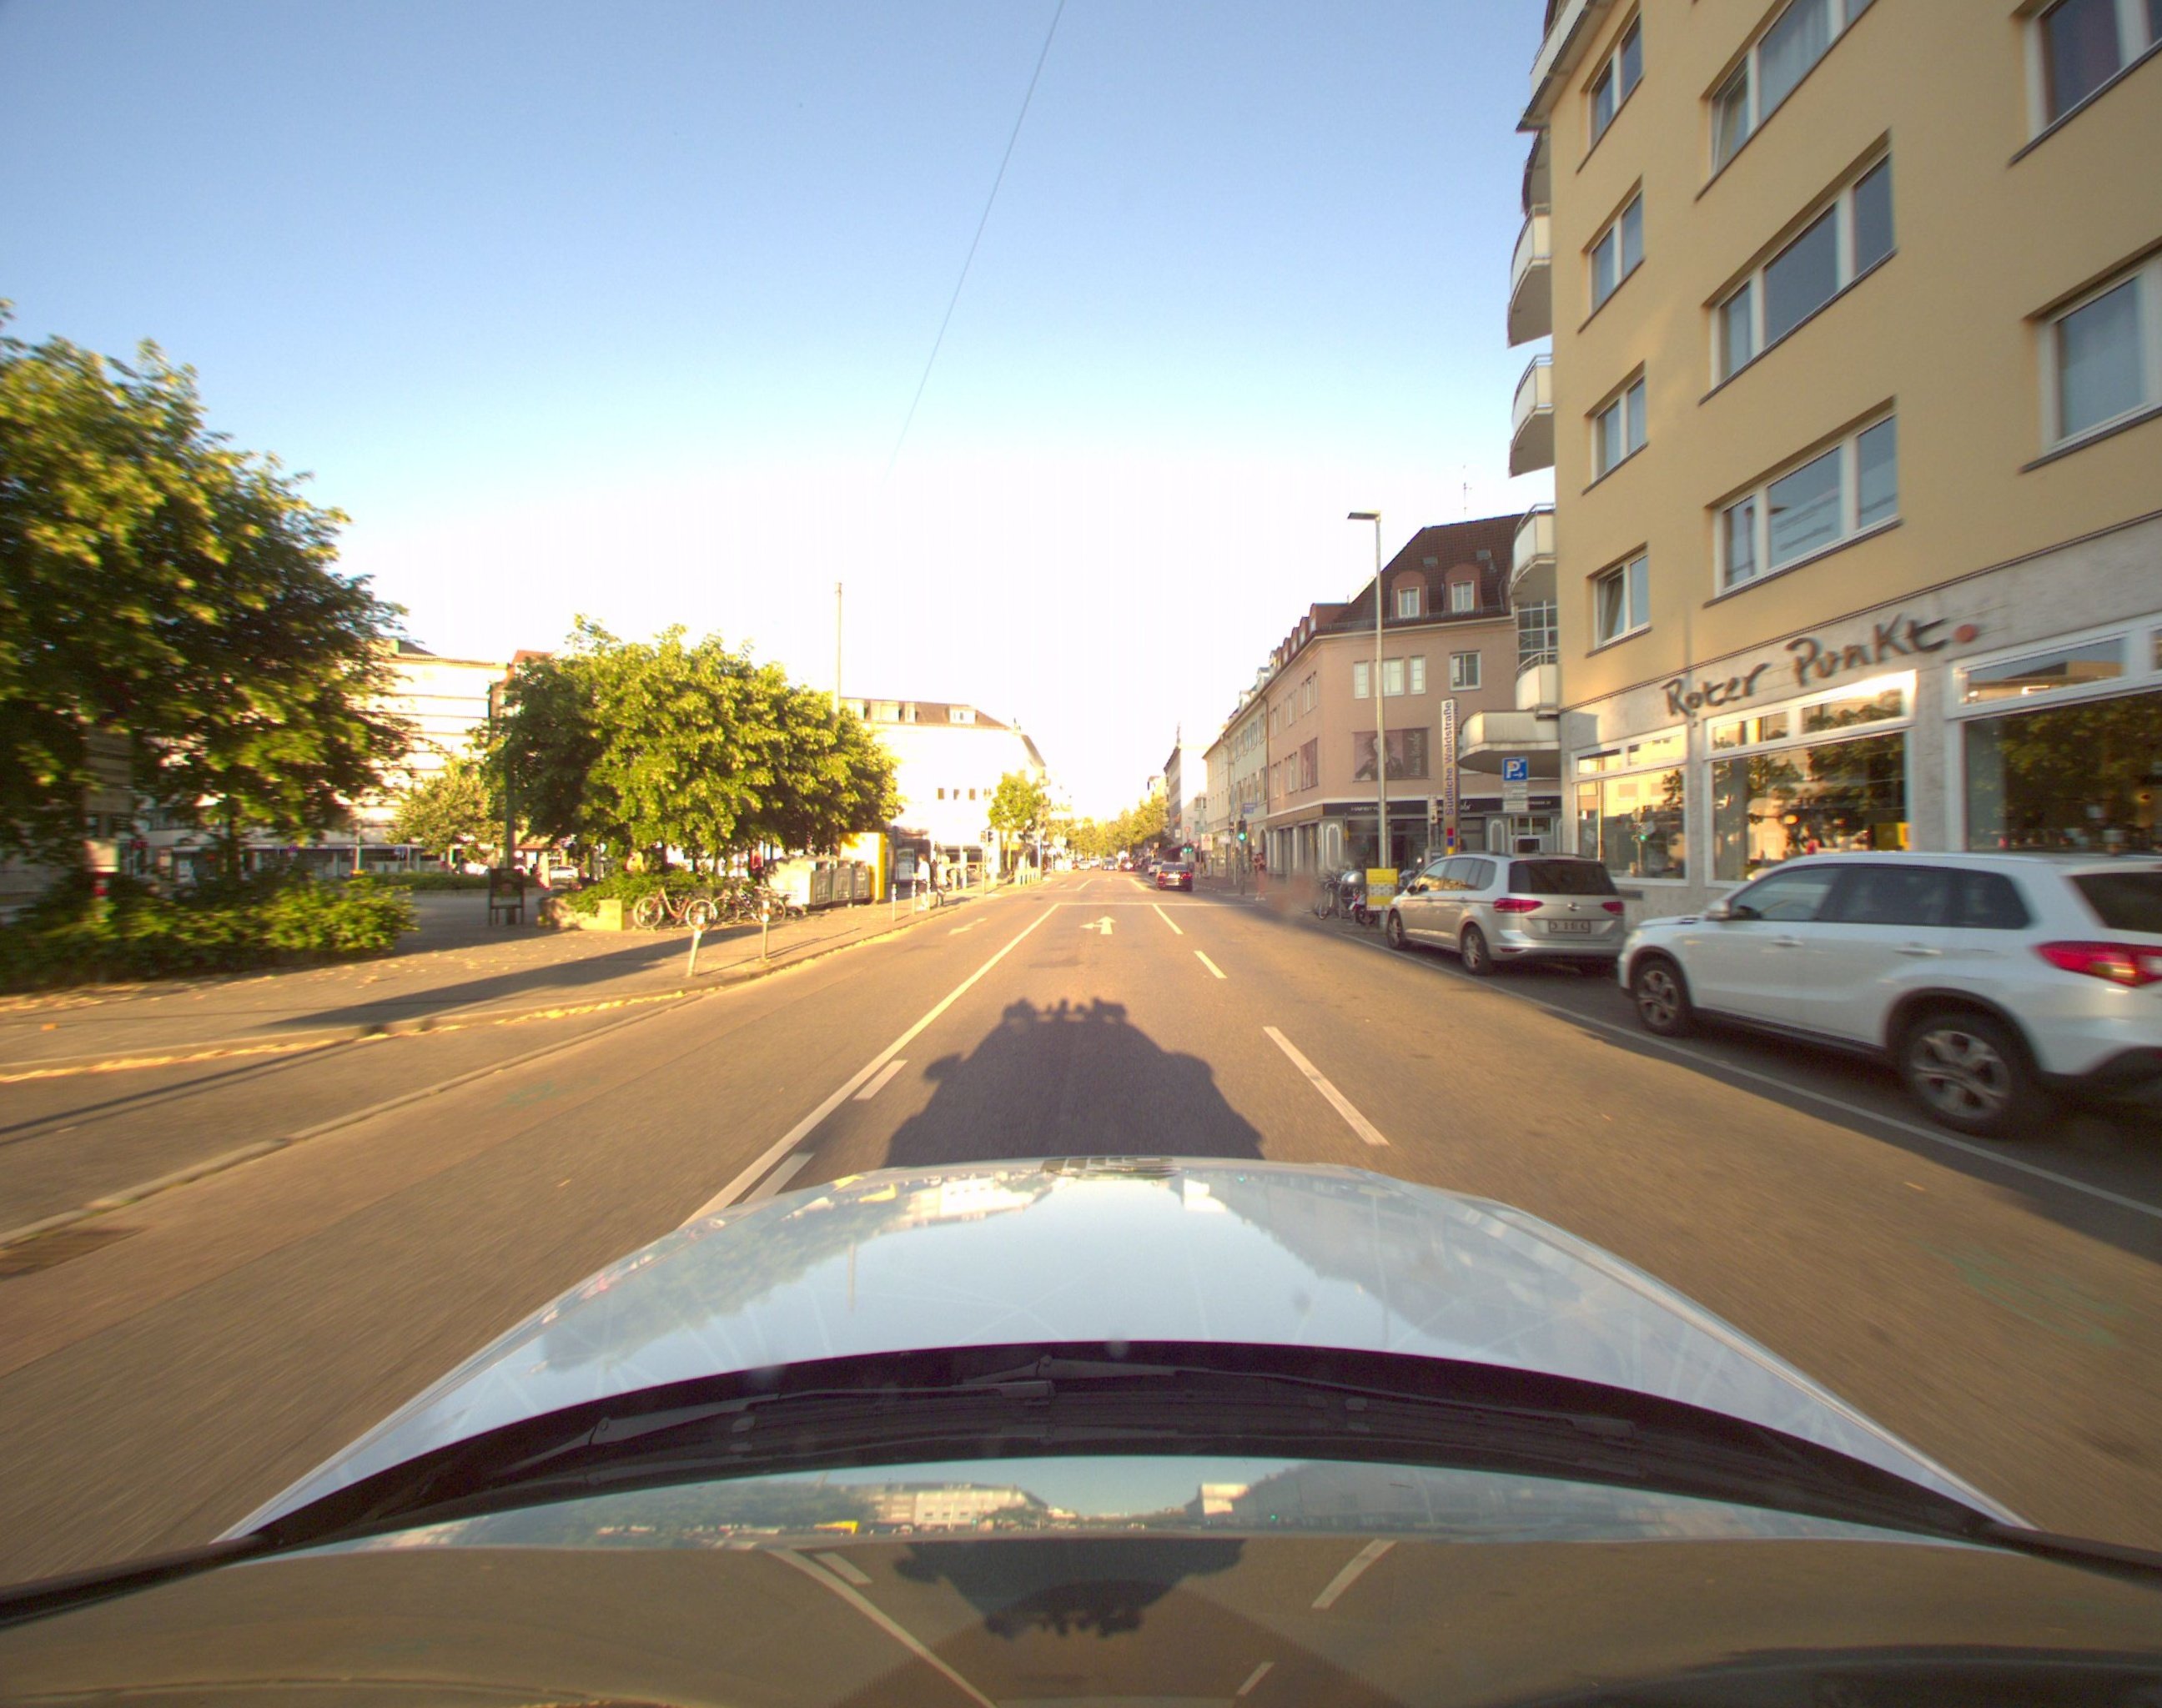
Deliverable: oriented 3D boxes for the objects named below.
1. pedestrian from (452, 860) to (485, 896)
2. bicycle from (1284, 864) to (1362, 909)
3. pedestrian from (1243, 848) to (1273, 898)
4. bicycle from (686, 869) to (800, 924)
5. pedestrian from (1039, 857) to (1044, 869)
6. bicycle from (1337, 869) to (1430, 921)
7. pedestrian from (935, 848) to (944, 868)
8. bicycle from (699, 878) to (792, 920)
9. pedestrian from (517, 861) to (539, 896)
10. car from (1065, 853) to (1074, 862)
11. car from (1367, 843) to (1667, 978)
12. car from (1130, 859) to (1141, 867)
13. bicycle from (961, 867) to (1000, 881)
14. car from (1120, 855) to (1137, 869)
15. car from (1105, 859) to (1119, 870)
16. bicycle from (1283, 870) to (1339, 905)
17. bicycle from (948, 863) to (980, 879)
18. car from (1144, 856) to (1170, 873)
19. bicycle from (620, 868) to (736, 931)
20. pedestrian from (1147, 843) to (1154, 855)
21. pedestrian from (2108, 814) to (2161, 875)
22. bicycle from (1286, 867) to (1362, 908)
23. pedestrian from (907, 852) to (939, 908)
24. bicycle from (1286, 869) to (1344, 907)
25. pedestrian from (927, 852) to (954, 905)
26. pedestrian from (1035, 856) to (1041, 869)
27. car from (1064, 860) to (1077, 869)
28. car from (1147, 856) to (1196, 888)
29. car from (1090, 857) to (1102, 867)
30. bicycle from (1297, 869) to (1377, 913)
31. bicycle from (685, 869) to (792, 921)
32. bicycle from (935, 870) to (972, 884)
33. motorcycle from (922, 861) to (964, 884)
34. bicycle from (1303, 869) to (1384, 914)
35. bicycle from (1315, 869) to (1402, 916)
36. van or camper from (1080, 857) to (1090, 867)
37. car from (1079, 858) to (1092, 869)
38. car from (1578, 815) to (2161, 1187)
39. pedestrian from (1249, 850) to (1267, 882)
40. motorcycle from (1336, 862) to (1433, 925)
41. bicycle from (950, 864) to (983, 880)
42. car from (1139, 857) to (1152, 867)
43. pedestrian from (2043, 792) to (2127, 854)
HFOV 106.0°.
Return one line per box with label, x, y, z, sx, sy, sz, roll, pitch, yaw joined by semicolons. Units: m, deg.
pedestrian;-31.274;1.220;41.609;0.700;1.778;1.201;-1;-1;37
bicycle;6.510;0.860;21.930;1.879;1.167;0.723;-1;-1;-2
pedestrian;6.127;0.642;28.197;0.793;1.720;0.810;0;-1;-5
bicycle;-7.955;0.996;19.220;2.423;1.237;0.517;1;-1;0
pedestrian;-5.688;1.292;117.419;0.600;1.721;0.575;0;-1;-12
bicycle;6.857;0.916;18.473;1.879;1.112;0.593;-1;0;-2
pedestrian;-11.838;0.329;68.153;0.551;1.611;0.636;0;-1;-32
bicycle;-8.423;1.114;20.502;2.036;0.971;0.636;2;-1;0
pedestrian;-29.211;1.283;43.015;0.885;1.778;0.714;-1;-1;40
car;-2.561;0.735;185.363;1.820;2.014;3.679;0;0;4
car;6.102;0.696;12.226;1.987;1.613;4.804;-1;0;1
car;10.483;1.679;156.810;1.775;1.596;3.633;0;0;-1
bicycle;-7.806;1.567;63.294;2.928;1.022;0.844;-1;-1;4
car;5.772;0.952;98.694;1.986;1.750;4.002;0;0;2
car;4.215;1.420;110.702;1.876;1.486;4.004;0;0;4
bicycle;6.720;0.975;23.825;1.495;1.015;0.512;0;-1;-1
bicycle;-8.665;1.273;60.179;2.229;1.135;0.811;-1;-1;-1
car;7.357;1.040;79.534;2.325;1.604;3.896;0;0;2
bicycle;-8.783;0.964;17.731;2.481;1.284;0.820;0;-1;22
pedestrian;12.015;-0.837;139.905;1.140;2.013;1.155;-1;0;7
pedestrian;31.423;-0.280;23.930;1.144;1.762;1.149;-1;-1;26
bicycle;6.770;0.937;22.732;1.879;1.112;0.762;0;-1;-2
pedestrian;-5.002;0.804;25.766;0.872;1.720;0.754;0;-1;-23
bicycle;6.705;0.968;23.336;1.496;1.026;0.512;-2;0;-3
pedestrian;-4.648;0.802;27.018;0.881;1.720;0.713;0;-1;-9
pedestrian;-6.077;1.206;115.280;0.681;1.721;0.702;0;-1;2
car;-1.836;1.747;138.346;1.886;1.596;4.004;0;0;4
car;4.465;0.875;40.707;1.883;1.492;4.202;0;0;-1
car;2.644;1.454;147.291;1.985;1.750;4.004;0;0;4
bicycle;6.580;0.950;20.974;1.878;1.112;0.601;0;-1;-1
bicycle;-8.356;0.990;19.914;2.423;1.237;0.462;0;-1;0
bicycle;-8.485;1.538;54.161;2.320;0.919;0.701;-1;-1;-1
motorcycle;-8.615;1.137;51.013;2.404;1.426;1.113;-1;-1;1
bicycle;6.581;0.931;20.433;1.878;1.112;0.521;0;-1;-2
bicycle;6.658;0.930;19.598;1.878;1.113;0.593;0;-2;-2
van or camper;0.926;1.885;196.211;2.466;2.405;3.997;0;0;-2
car;0.722;1.420;125.748;1.886;1.596;4.004;0;0;4
car;5.902;0.652;6.044;1.861;1.762;4.410;-1;1;2
pedestrian;9.968;0.659;45.993;0.755;1.777;1.047;0;-1;-3
motorcycle;6.543;0.837;17.597;1.807;1.263;0.716;-2;-1;-1
bicycle;-8.550;1.346;61.092;2.313;1.131;0.800;-1;-1;3
car;10.179;1.240;129.247;1.985;1.617;4.003;0;0;3
pedestrian;29.619;-0.893;24.054;1.176;1.762;1.149;-1;-1;26
